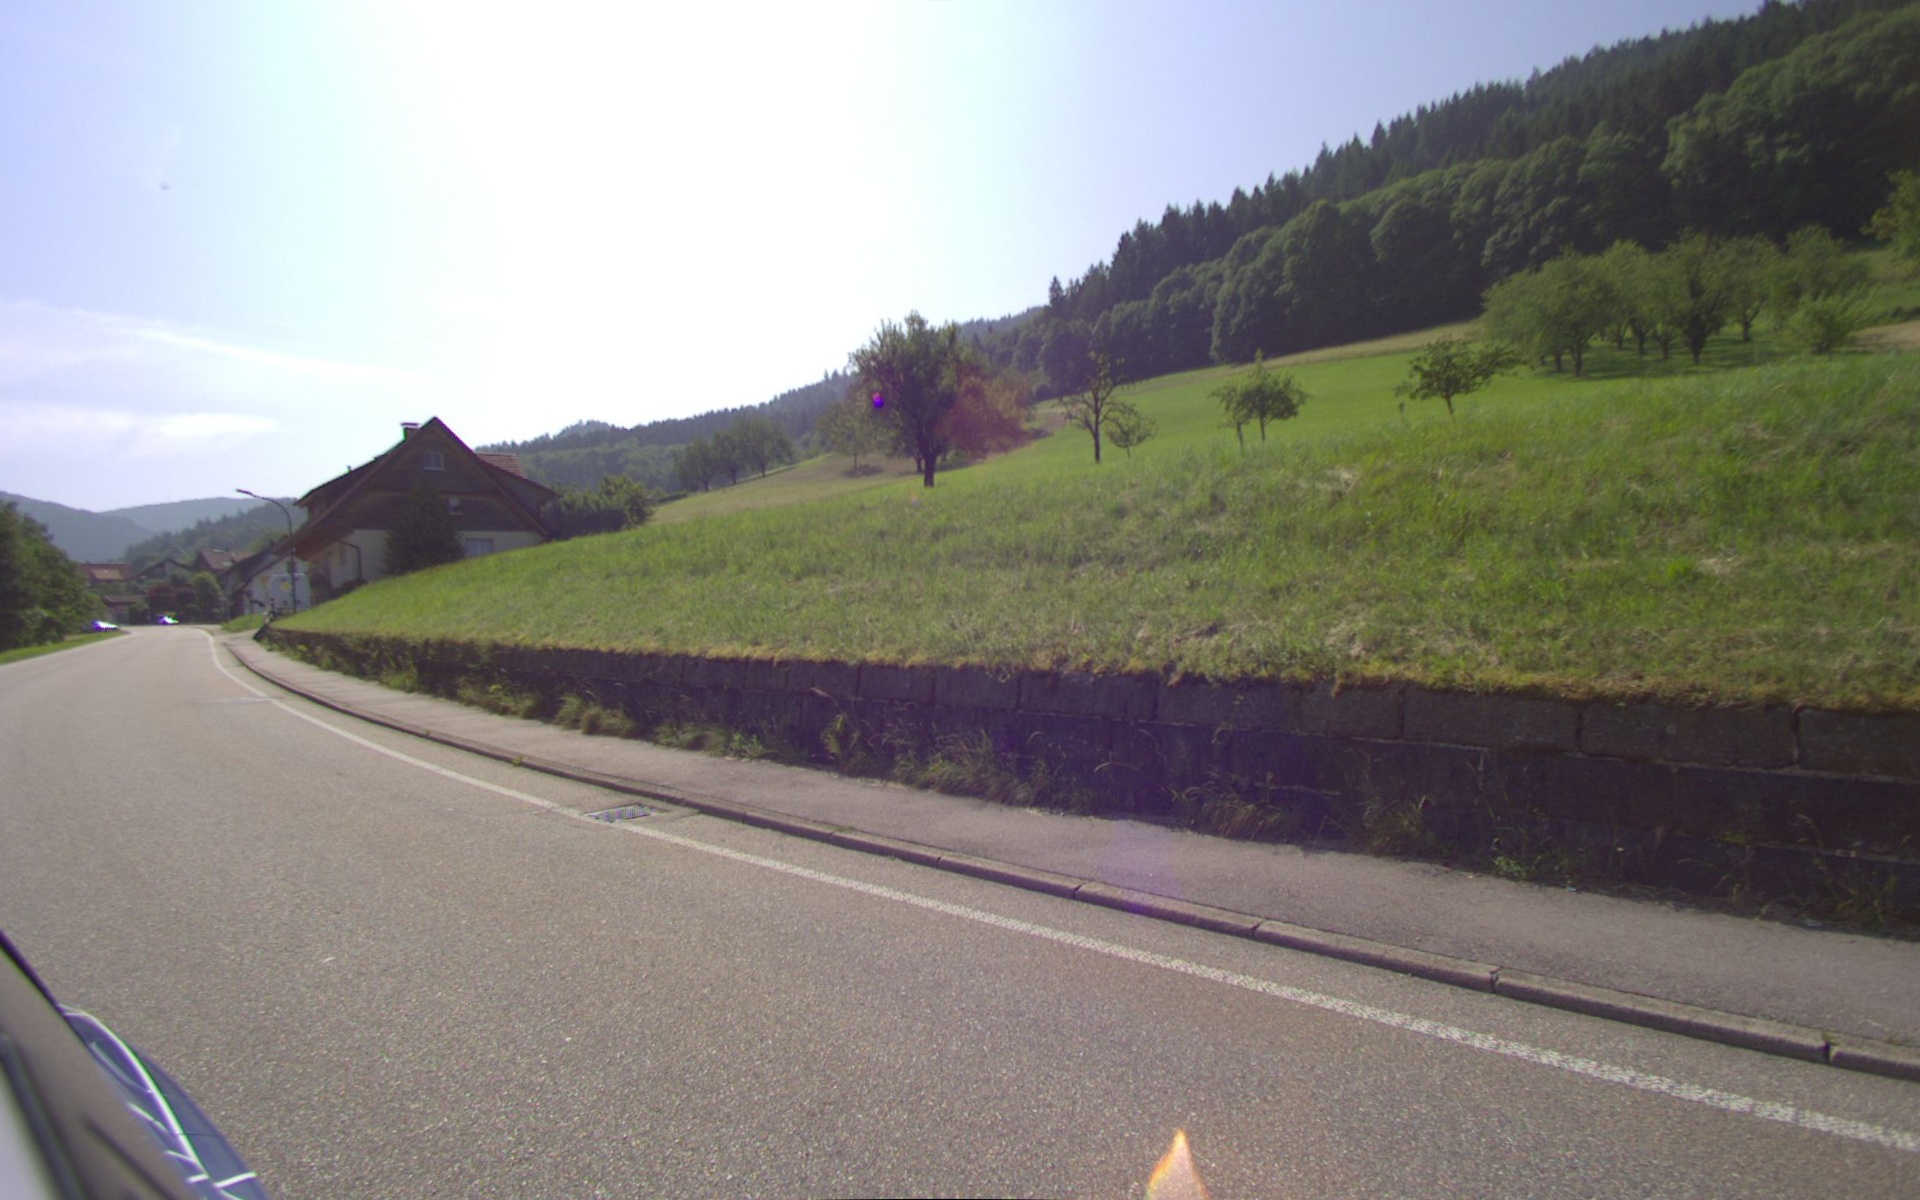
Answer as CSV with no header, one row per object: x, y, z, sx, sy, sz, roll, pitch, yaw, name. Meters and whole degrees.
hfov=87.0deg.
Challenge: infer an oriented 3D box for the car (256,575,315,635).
-37.866,0.349,56.710,2.041,2.708,7.187,-5,-1,-38,car
